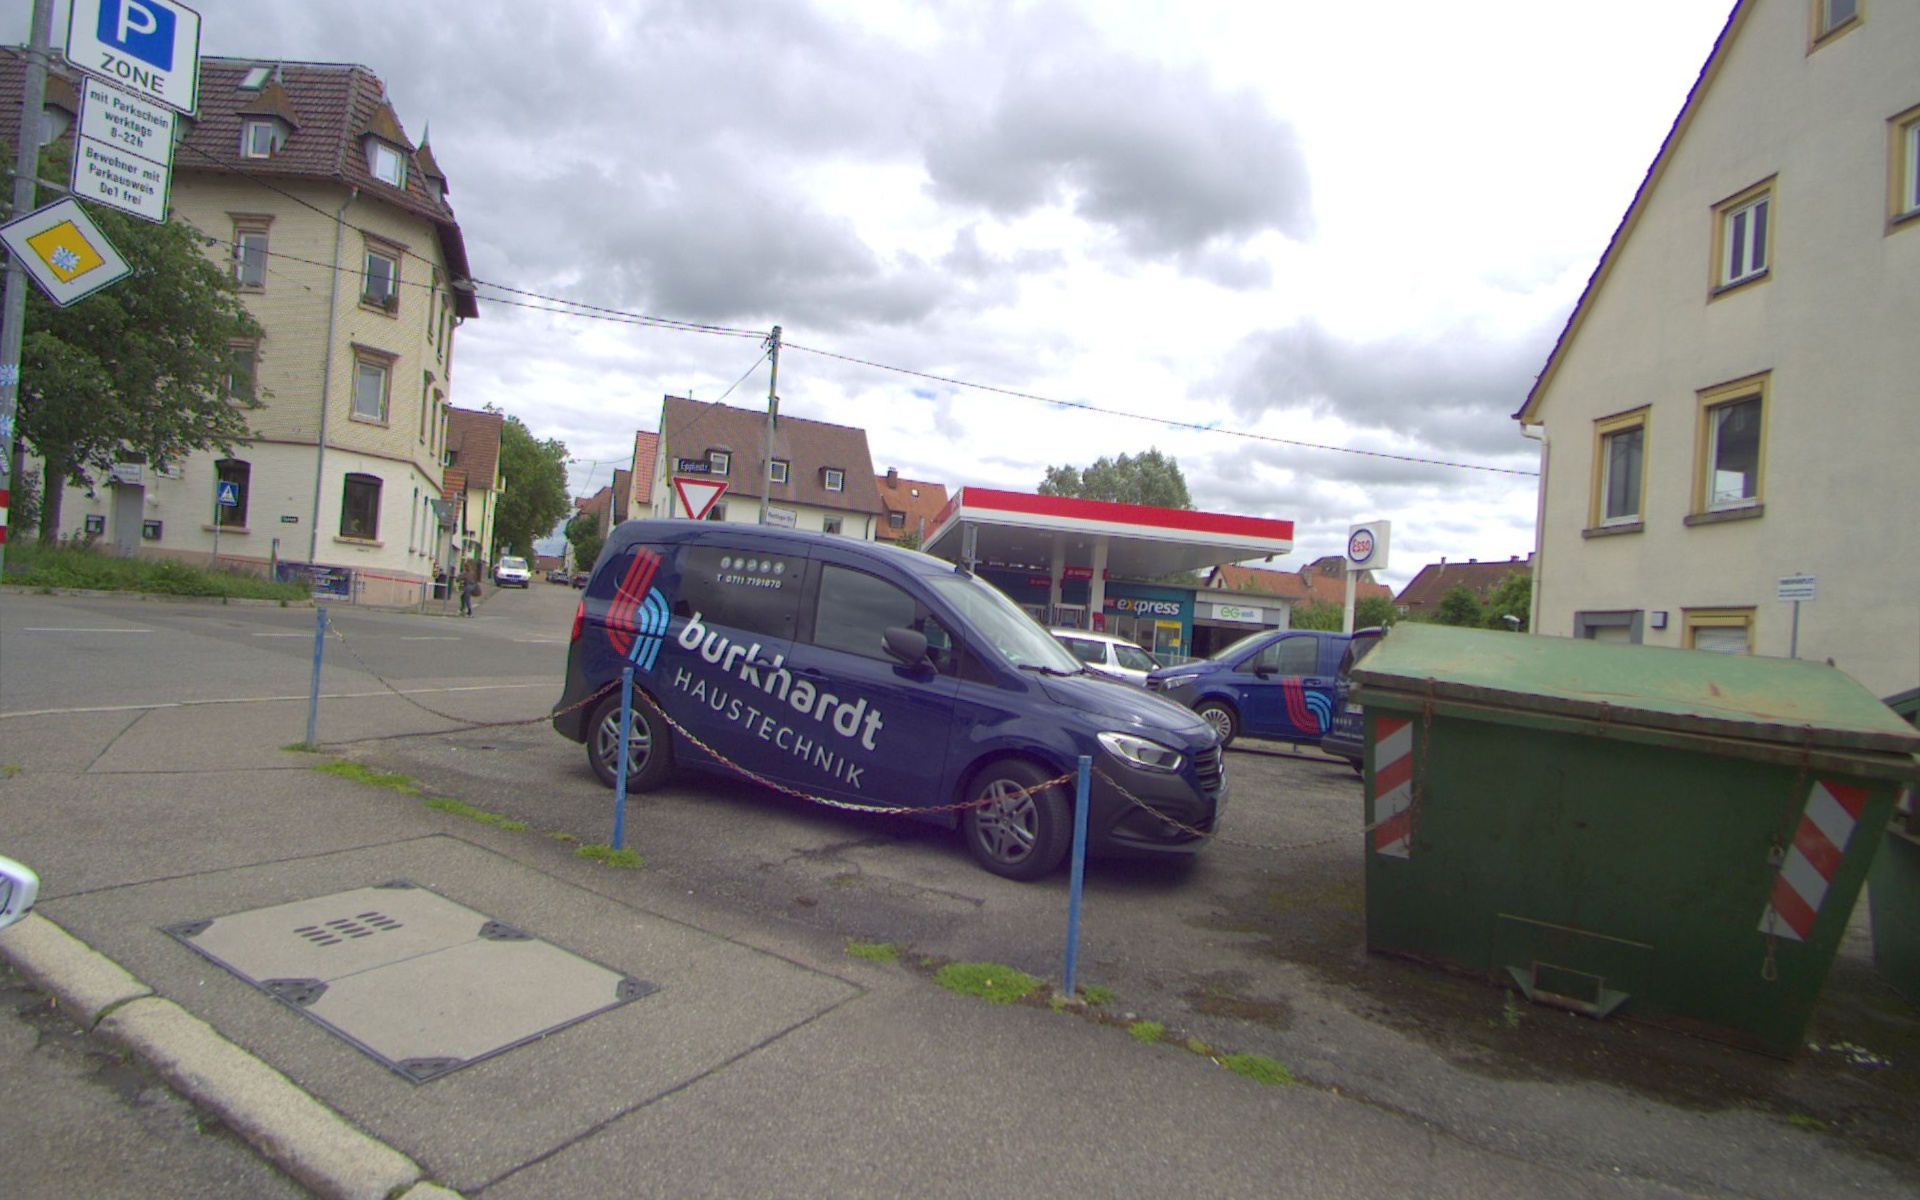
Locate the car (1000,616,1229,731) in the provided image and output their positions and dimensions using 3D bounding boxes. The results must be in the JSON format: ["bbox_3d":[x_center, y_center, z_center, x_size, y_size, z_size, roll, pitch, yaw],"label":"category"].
[{"bbox_3d":[2.938,1.413,19.608,3.931,1.636,1.774,8,-2,-7],"label":"car"}]

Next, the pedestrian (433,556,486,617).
[{"bbox_3d":[-15.719,-0.415,31.608,0.846,1.752,1.021,6,-2,30],"label":"pedestrian"}]

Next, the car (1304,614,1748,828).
[{"bbox_3d":[6.302,1.327,11.470,3.931,1.747,1.869,8,-2,-6],"label":"car"}]

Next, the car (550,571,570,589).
[{"bbox_3d":[-53.574,-2.688,134.698,1.976,2.036,3.978,9,-3,-25],"label":"car"}]

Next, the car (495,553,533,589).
[{"bbox_3d":[-29.398,-1.887,66.205,1.976,2.036,3.978,9,-3,-25],"label":"car"}]

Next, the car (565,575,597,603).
[{"bbox_3d":[-31.387,-0.911,83.222,1.976,2.036,3.978,9,-3,-25],"label":"car"}]

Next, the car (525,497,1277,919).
[{"bbox_3d":[-0.430,0.474,6.606,4.489,1.762,1.750,7,1,23],"label":"car"}]

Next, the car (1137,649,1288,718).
[{"bbox_3d":[7.046,2.327,28.294,3.701,1.492,1.626,6,-1,-5],"label":"car"}]

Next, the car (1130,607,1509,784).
[{"bbox_3d":[5.189,1.379,14.976,4.804,1.822,1.904,8,-2,-2],"label":"car"}]

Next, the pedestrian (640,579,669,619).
[{"bbox_3d":[-14.474,-0.063,47.692,0.905,1.758,0.740,9,-2,-34],"label":"pedestrian"}]
